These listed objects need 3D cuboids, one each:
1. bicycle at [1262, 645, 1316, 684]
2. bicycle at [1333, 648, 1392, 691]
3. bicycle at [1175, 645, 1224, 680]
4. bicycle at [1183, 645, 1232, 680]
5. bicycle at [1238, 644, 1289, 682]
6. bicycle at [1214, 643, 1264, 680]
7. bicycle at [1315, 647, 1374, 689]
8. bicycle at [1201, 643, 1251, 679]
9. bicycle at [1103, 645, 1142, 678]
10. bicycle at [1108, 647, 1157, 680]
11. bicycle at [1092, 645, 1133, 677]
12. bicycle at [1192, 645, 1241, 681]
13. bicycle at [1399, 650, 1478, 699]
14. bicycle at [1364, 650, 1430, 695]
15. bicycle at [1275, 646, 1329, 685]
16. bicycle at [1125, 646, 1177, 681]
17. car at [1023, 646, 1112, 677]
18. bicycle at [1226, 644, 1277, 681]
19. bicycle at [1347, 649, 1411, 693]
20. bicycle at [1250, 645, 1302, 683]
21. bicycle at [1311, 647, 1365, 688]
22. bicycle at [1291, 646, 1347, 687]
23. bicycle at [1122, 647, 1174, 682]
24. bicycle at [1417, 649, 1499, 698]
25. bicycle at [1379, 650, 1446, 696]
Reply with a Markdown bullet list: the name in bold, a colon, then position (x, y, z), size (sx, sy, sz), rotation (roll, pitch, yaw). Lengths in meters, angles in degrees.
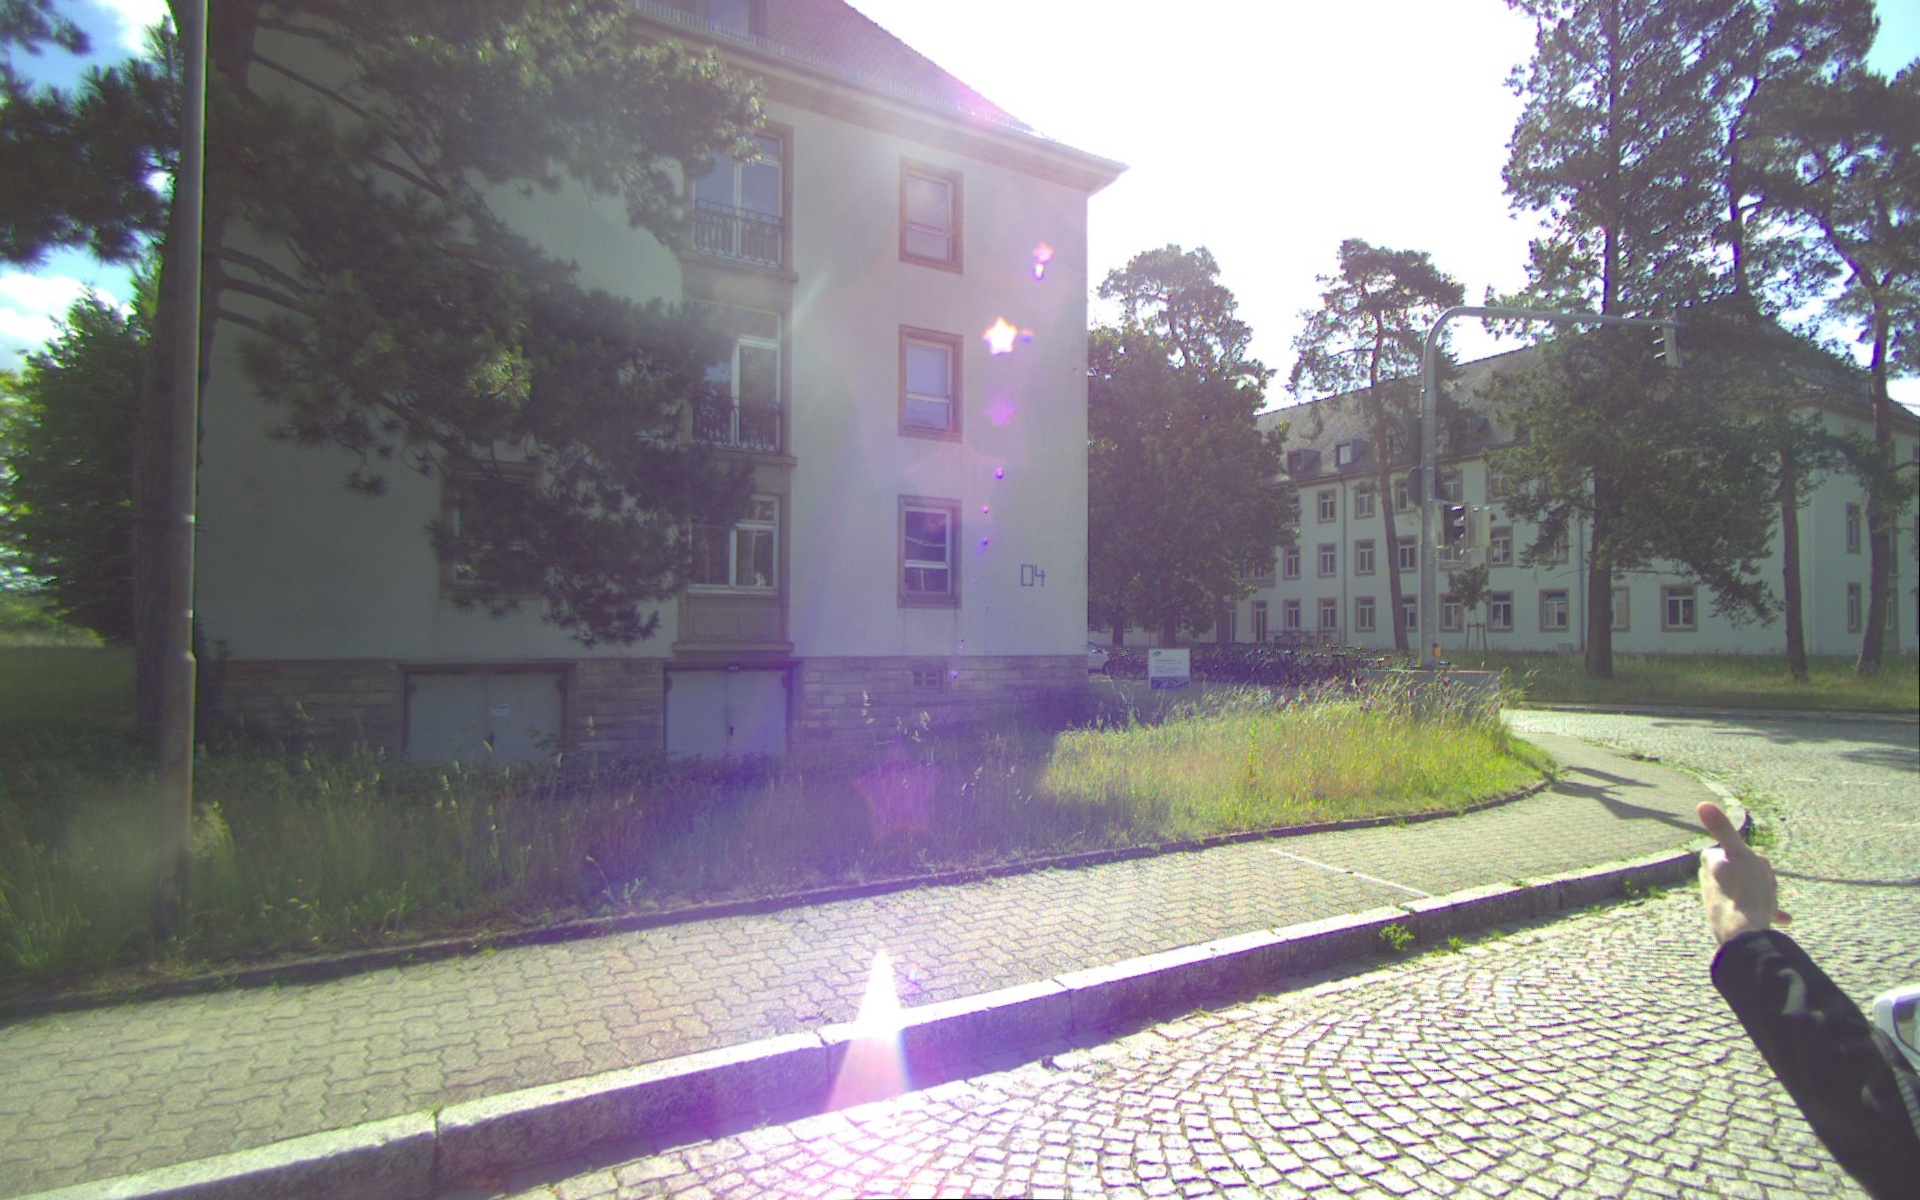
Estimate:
- **bicycle**: position (10.737, 2.096, 32.750), size (1.954, 1.236, 0.511), rotation (1, -2, -31)
- **bicycle**: position (12.047, 2.062, 30.042), size (1.967, 1.236, 0.569), rotation (1, -2, -31)
- **bicycle**: position (8.665, 2.232, 36.361), size (1.915, 1.236, 0.511), rotation (1, -2, -31)
- **bicycle**: position (8.883, 2.227, 35.970), size (1.915, 1.236, 0.511), rotation (1, -2, -31)
- **bicycle**: position (10.178, 2.105, 33.673), size (1.915, 1.236, 0.511), rotation (1, -2, -31)
- **bicycle**: position (9.643, 2.118, 34.678), size (1.915, 1.236, 0.511), rotation (1, -2, -31)
- **bicycle**: position (11.783, 2.075, 30.755), size (2.006, 1.236, 0.576), rotation (1, -2, -31)
- **bicycle**: position (9.328, 2.124, 35.199), size (1.915, 1.236, 0.511), rotation (1, -2, -31)
- **bicycle**: position (6.383, 2.405, 39.415), size (1.815, 1.236, 0.509), rotation (2, -3, -42)
- **bicycle**: position (6.512, 2.385, 37.915), size (1.792, 1.236, 0.516), rotation (0, -2, 6)
- **bicycle**: position (6.066, 2.411, 39.930), size (1.813, 1.236, 0.510), rotation (2, -3, -39)
- **bicycle**: position (9.098, 2.222, 35.599), size (1.915, 1.236, 0.511), rotation (1, -2, -31)
- **bicycle**: position (12.684, 1.955, 26.687), size (0.627, 1.236, 1.853), rotation (1, -2, -30)
- **bicycle**: position (12.446, 2.037, 28.578), size (2.100, 1.236, 0.630), rotation (1, -2, -31)
- **bicycle**: position (11.001, 2.095, 32.305), size (1.954, 1.236, 0.511), rotation (1, -2, -31)
- **bicycle**: position (7.022, 2.331, 36.924), size (1.794, 1.236, 0.515), rotation (-1, -2, 24)
- **car**: position (4.560, 2.578, 42.548), size (3.550, 1.227, 1.504), rotation (1, -3, -29)
- **bicycle**: position (9.924, 2.111, 34.156), size (1.915, 1.236, 0.511), rotation (1, -2, -31)
- **bicycle**: position (12.150, 2.044, 29.104), size (2.080, 1.236, 0.630), rotation (1, -2, -31)
- **bicycle**: position (10.446, 2.098, 33.187), size (1.932, 1.236, 0.511), rotation (1, -2, -31)
- **bicycle**: position (11.853, 2.089, 31.468), size (1.878, 1.236, 0.545), rotation (1, -2, -31)
- **bicycle**: position (11.364, 2.089, 31.770), size (1.993, 1.236, 0.511), rotation (1, -2, -31)
- **bicycle**: position (6.792, 2.322, 36.318), size (1.794, 1.236, 0.515), rotation (-1, -2, 24)
- **bicycle**: position (13.338, 1.949, 26.966), size (0.627, 1.236, 1.935), rotation (1, -2, -30)
- **bicycle**: position (12.695, 2.031, 28.165), size (2.090, 1.236, 0.630), rotation (1, -2, -31)
